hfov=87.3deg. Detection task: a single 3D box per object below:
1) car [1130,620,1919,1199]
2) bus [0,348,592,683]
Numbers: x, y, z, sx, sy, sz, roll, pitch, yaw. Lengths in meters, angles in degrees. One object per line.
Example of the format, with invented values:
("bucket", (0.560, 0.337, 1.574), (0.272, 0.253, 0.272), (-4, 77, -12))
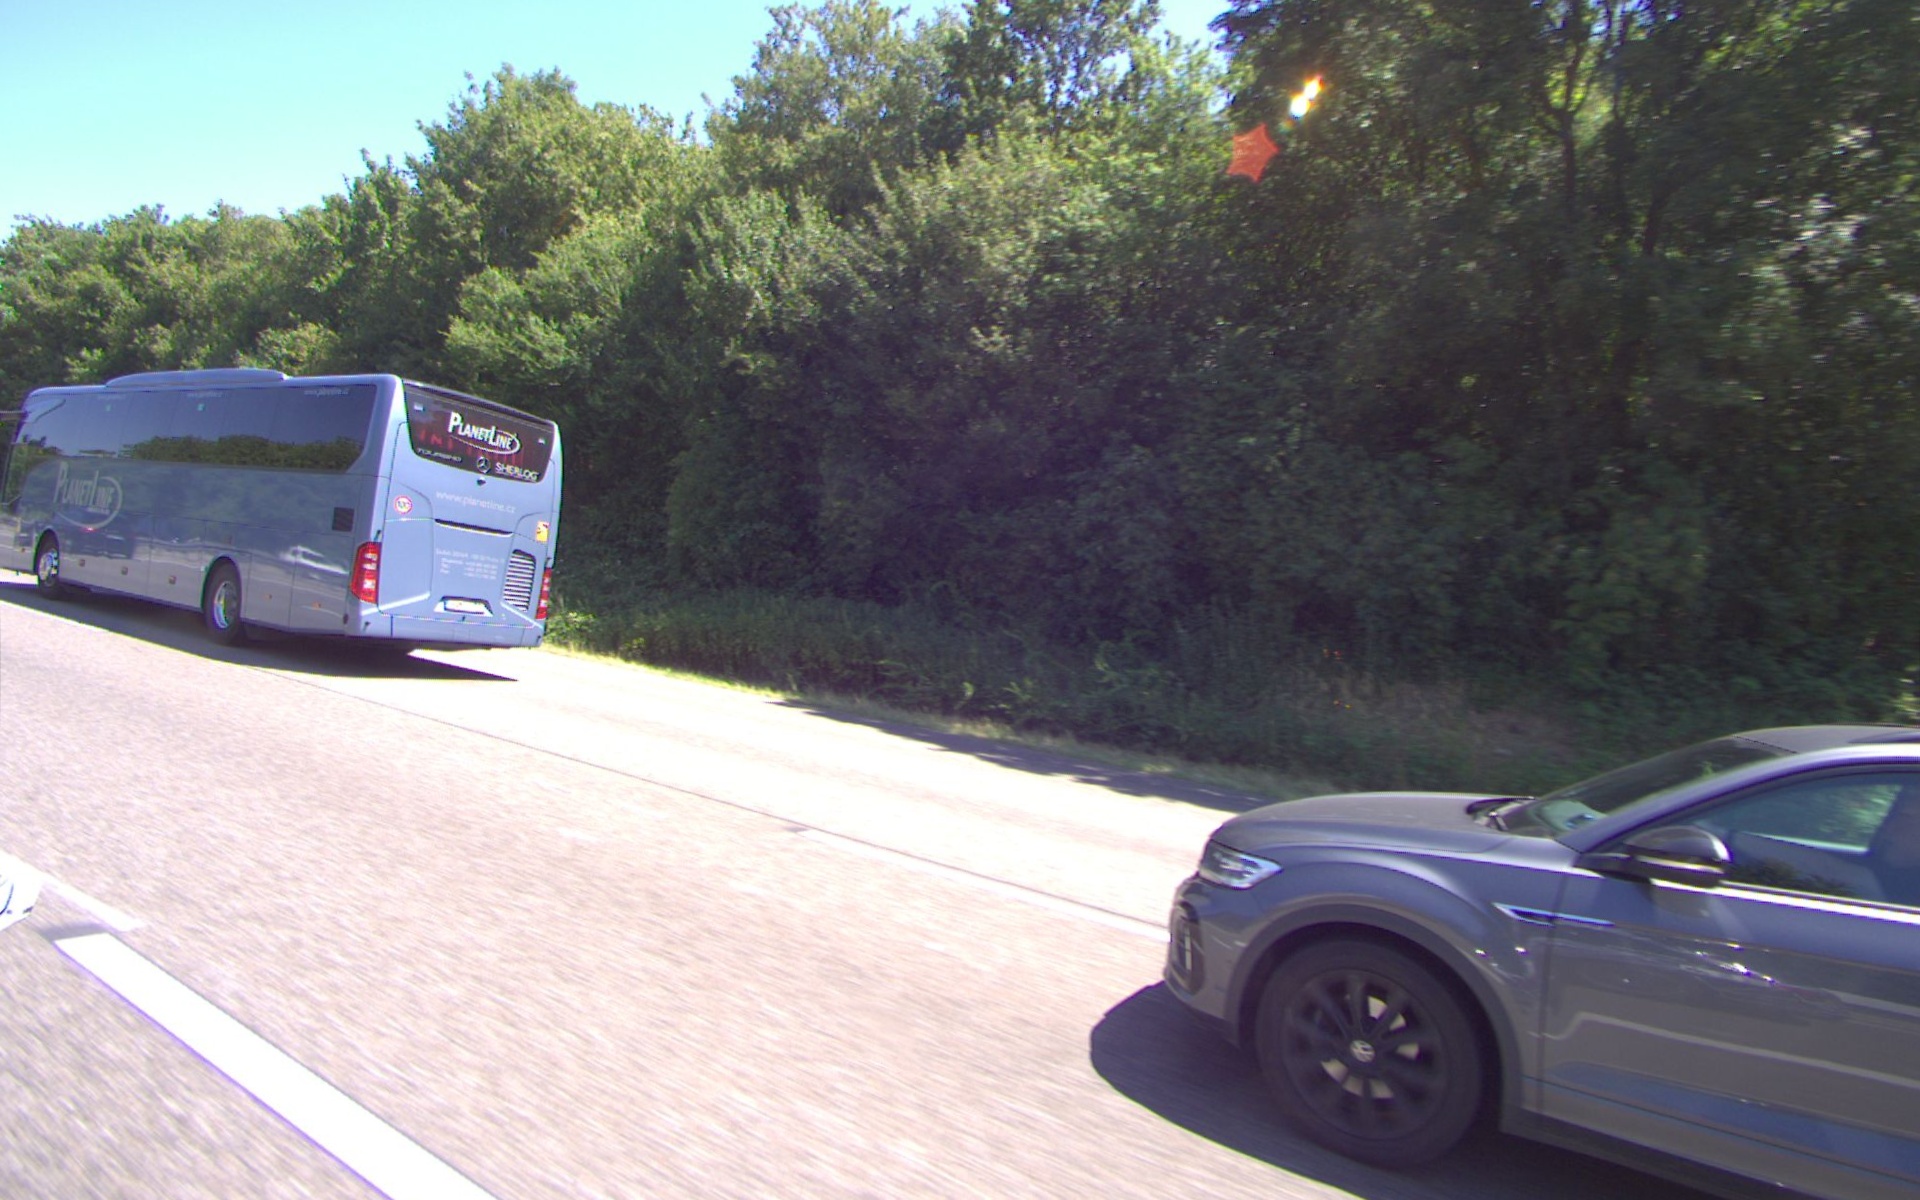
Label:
("car", (3.134, 1.161, 3.001), (4.680, 1.550, 1.903), (7, -1, 31))
("bus", (-11.046, -1.421, 15.335), (12.265, 3.639, 2.807), (7, -1, 31))
